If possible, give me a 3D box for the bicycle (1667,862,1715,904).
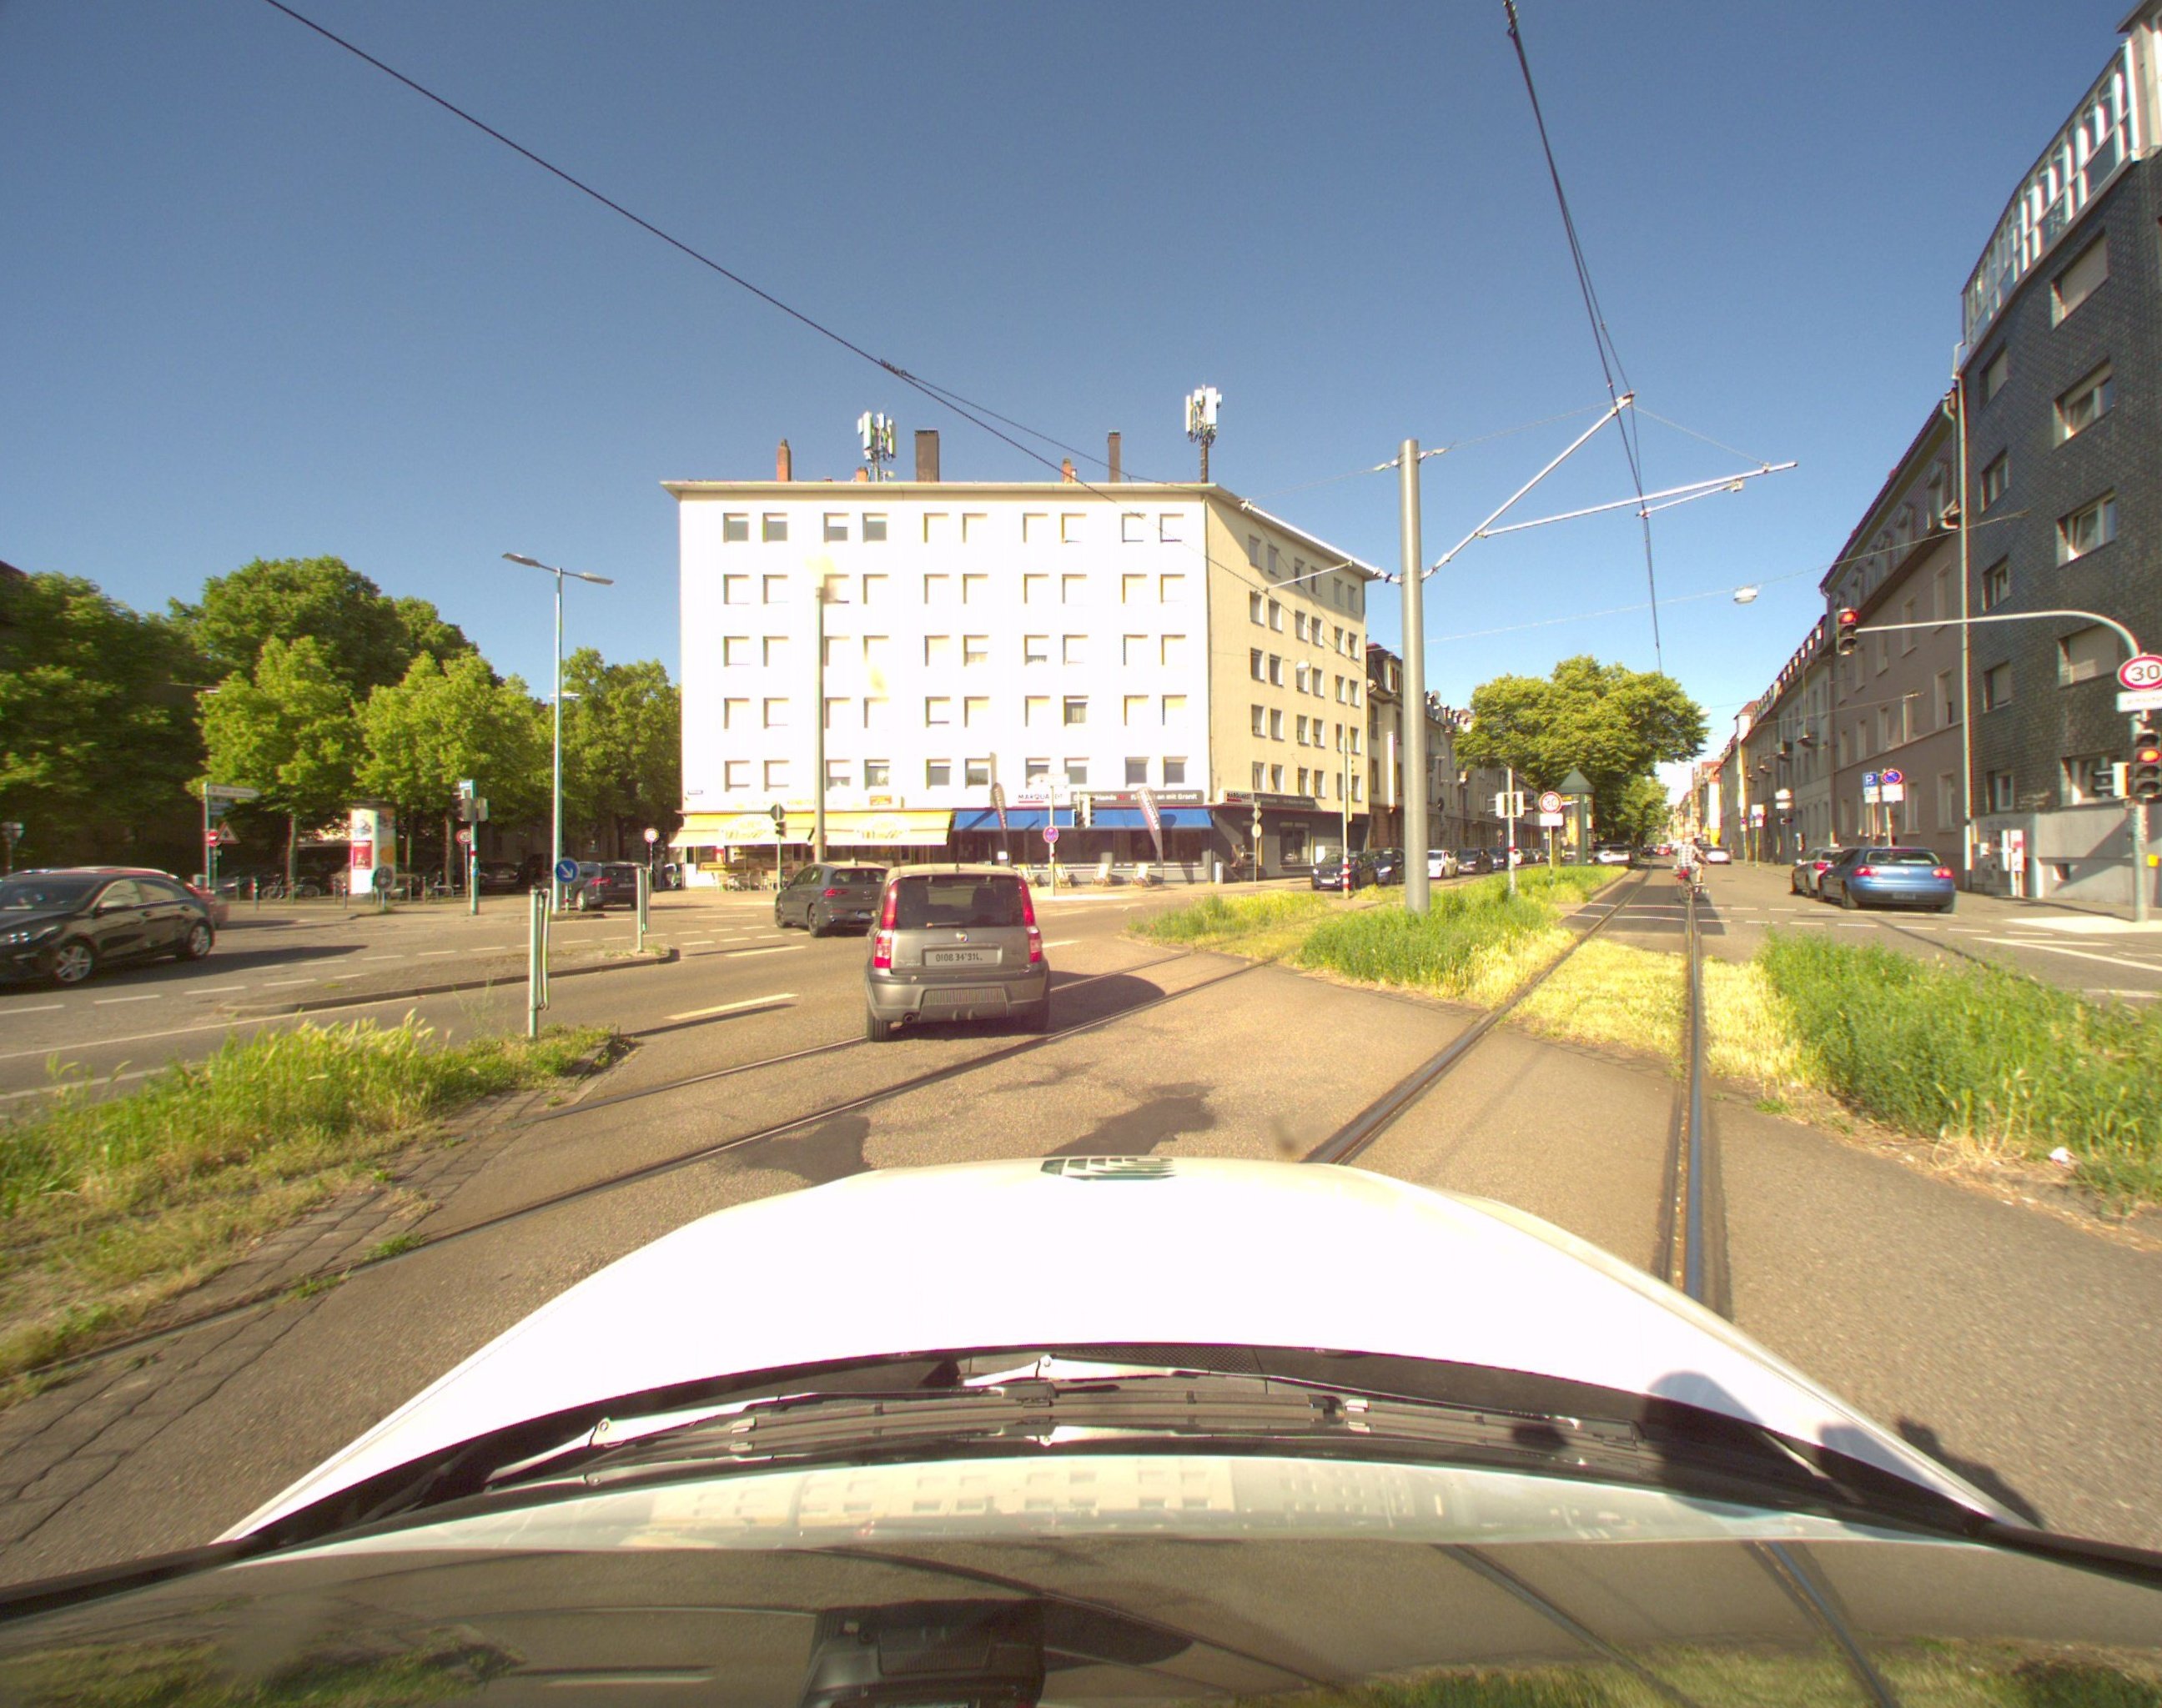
[{"bbox_3d":[16.084,0.747,21.453,1.867,1.032,0.582,-1,0,-40],"label":"bicycle"}]

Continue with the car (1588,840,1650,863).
[{"bbox_3d":[43.192,-0.225,65.451,1.851,1.785,3.773,-1,0,-42],"label":"car"}]

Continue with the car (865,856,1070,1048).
[{"bbox_3d":[-1.321,0.786,8.290,1.663,1.510,3.234,-1,0,-15],"label":"car"}]

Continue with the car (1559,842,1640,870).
[{"bbox_3d":[31.453,0.127,49.528,1.905,1.594,3.984,-1,0,-11],"label":"car"}]

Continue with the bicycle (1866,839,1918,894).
[{"bbox_3d":[23.719,0.331,23.870,0.567,1.511,2.825,-1,0,35],"label":"bicycle"}]

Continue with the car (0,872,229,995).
[{"bbox_3d":[-14.055,0.991,11.379,1.669,1.391,4.113,-1,0,-27],"label":"car"}]

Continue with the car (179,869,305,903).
[{"bbox_3d":[-36.661,1.384,35.725,1.588,1.293,3.704,-1,0,2],"label":"car"}]

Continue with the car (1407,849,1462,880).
[{"bbox_3d":[18.069,0.524,41.544,1.773,1.483,3.554,-1,0,36],"label":"car"}]

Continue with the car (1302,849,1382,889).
[{"bbox_3d":[10.000,0.527,31.049,1.773,1.396,3.749,-1,0,36],"label":"car"}]

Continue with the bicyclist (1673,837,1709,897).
[{"bbox_3d":[16.064,0.327,21.445,0.828,1.559,0.555,-1,0,-39],"label":"bicyclist"}]

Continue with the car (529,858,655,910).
[{"bbox_3d":[-15.290,0.890,25.393,4.237,1.486,1.777,-1,0,35],"label":"car"}]

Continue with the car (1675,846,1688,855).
[{"bbox_3d":[97.958,-0.537,132.833,1.660,1.366,3.720,-1,0,38],"label":"car"}]

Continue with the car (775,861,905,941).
[{"bbox_3d":[-5.073,0.879,16.849,1.632,1.429,3.651,-1,0,-32],"label":"car"}]

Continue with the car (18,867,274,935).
[{"bbox_3d":[-22.164,1.099,19.391,4.504,1.489,1.759,-1,0,7],"label":"car"}]

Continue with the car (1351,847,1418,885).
[{"bbox_3d":[13.409,0.491,35.866,1.773,1.565,3.790,-1,0,36],"label":"car"}]

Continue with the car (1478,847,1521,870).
[{"bbox_3d":[29.273,0.302,56.928,1.974,1.487,4.025,-1,0,38],"label":"car"}]

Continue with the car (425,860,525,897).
[{"bbox_3d":[-28.301,1.138,38.103,3.291,1.602,1.667,-1,0,-6],"label":"car"}]

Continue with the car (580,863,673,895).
[{"bbox_3d":[-20.808,1.119,37.491,1.986,1.310,4.001,-1,0,1],"label":"car"}]

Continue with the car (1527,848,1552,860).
[{"bbox_3d":[52.687,-0.049,93.504,1.974,1.347,4.026,-1,0,37],"label":"car"}]

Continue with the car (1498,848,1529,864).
[{"bbox_3d":[40.063,0.159,75.394,1.974,1.395,4.026,-1,0,35],"label":"car"}]

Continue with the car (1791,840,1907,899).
[{"bbox_3d":[21.694,0.387,23.162,1.802,1.508,4.026,-1,0,35],"label":"car"}]

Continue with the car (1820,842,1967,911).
[{"bbox_3d":[18.858,0.445,19.077,1.758,1.442,3.642,0,1,34],"label":"car"}]

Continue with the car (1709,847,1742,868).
[{"bbox_3d":[51.837,0.303,65.550,1.974,1.618,4.025,0,-1,36],"label":"car"}]

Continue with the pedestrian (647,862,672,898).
[{"bbox_3d":[-19.218,1.174,37.154,0.792,1.621,0.826,-1,0,-12],"label":"pedestrian"}]

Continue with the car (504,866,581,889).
[{"bbox_3d":[-31.248,1.355,47.291,1.647,1.190,3.464,-1,0,43],"label":"car"}]

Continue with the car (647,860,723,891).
[{"bbox_3d":[-20.959,1.098,43.253,1.928,1.513,3.942,-1,0,3],"label":"car"}]

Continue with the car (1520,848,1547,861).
[{"bbox_3d":[49.019,0.073,88.174,1.974,1.347,4.026,-1,0,37],"label":"car"}]

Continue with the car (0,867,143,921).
[{"bbox_3d":[-30.131,1.151,23.630,3.402,1.438,1.637,-1,0,-26],"label":"car"}]

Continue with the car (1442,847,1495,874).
[{"bbox_3d":[22.724,0.349,47.687,1.974,1.473,4.025,-1,0,38],"label":"car"}]
